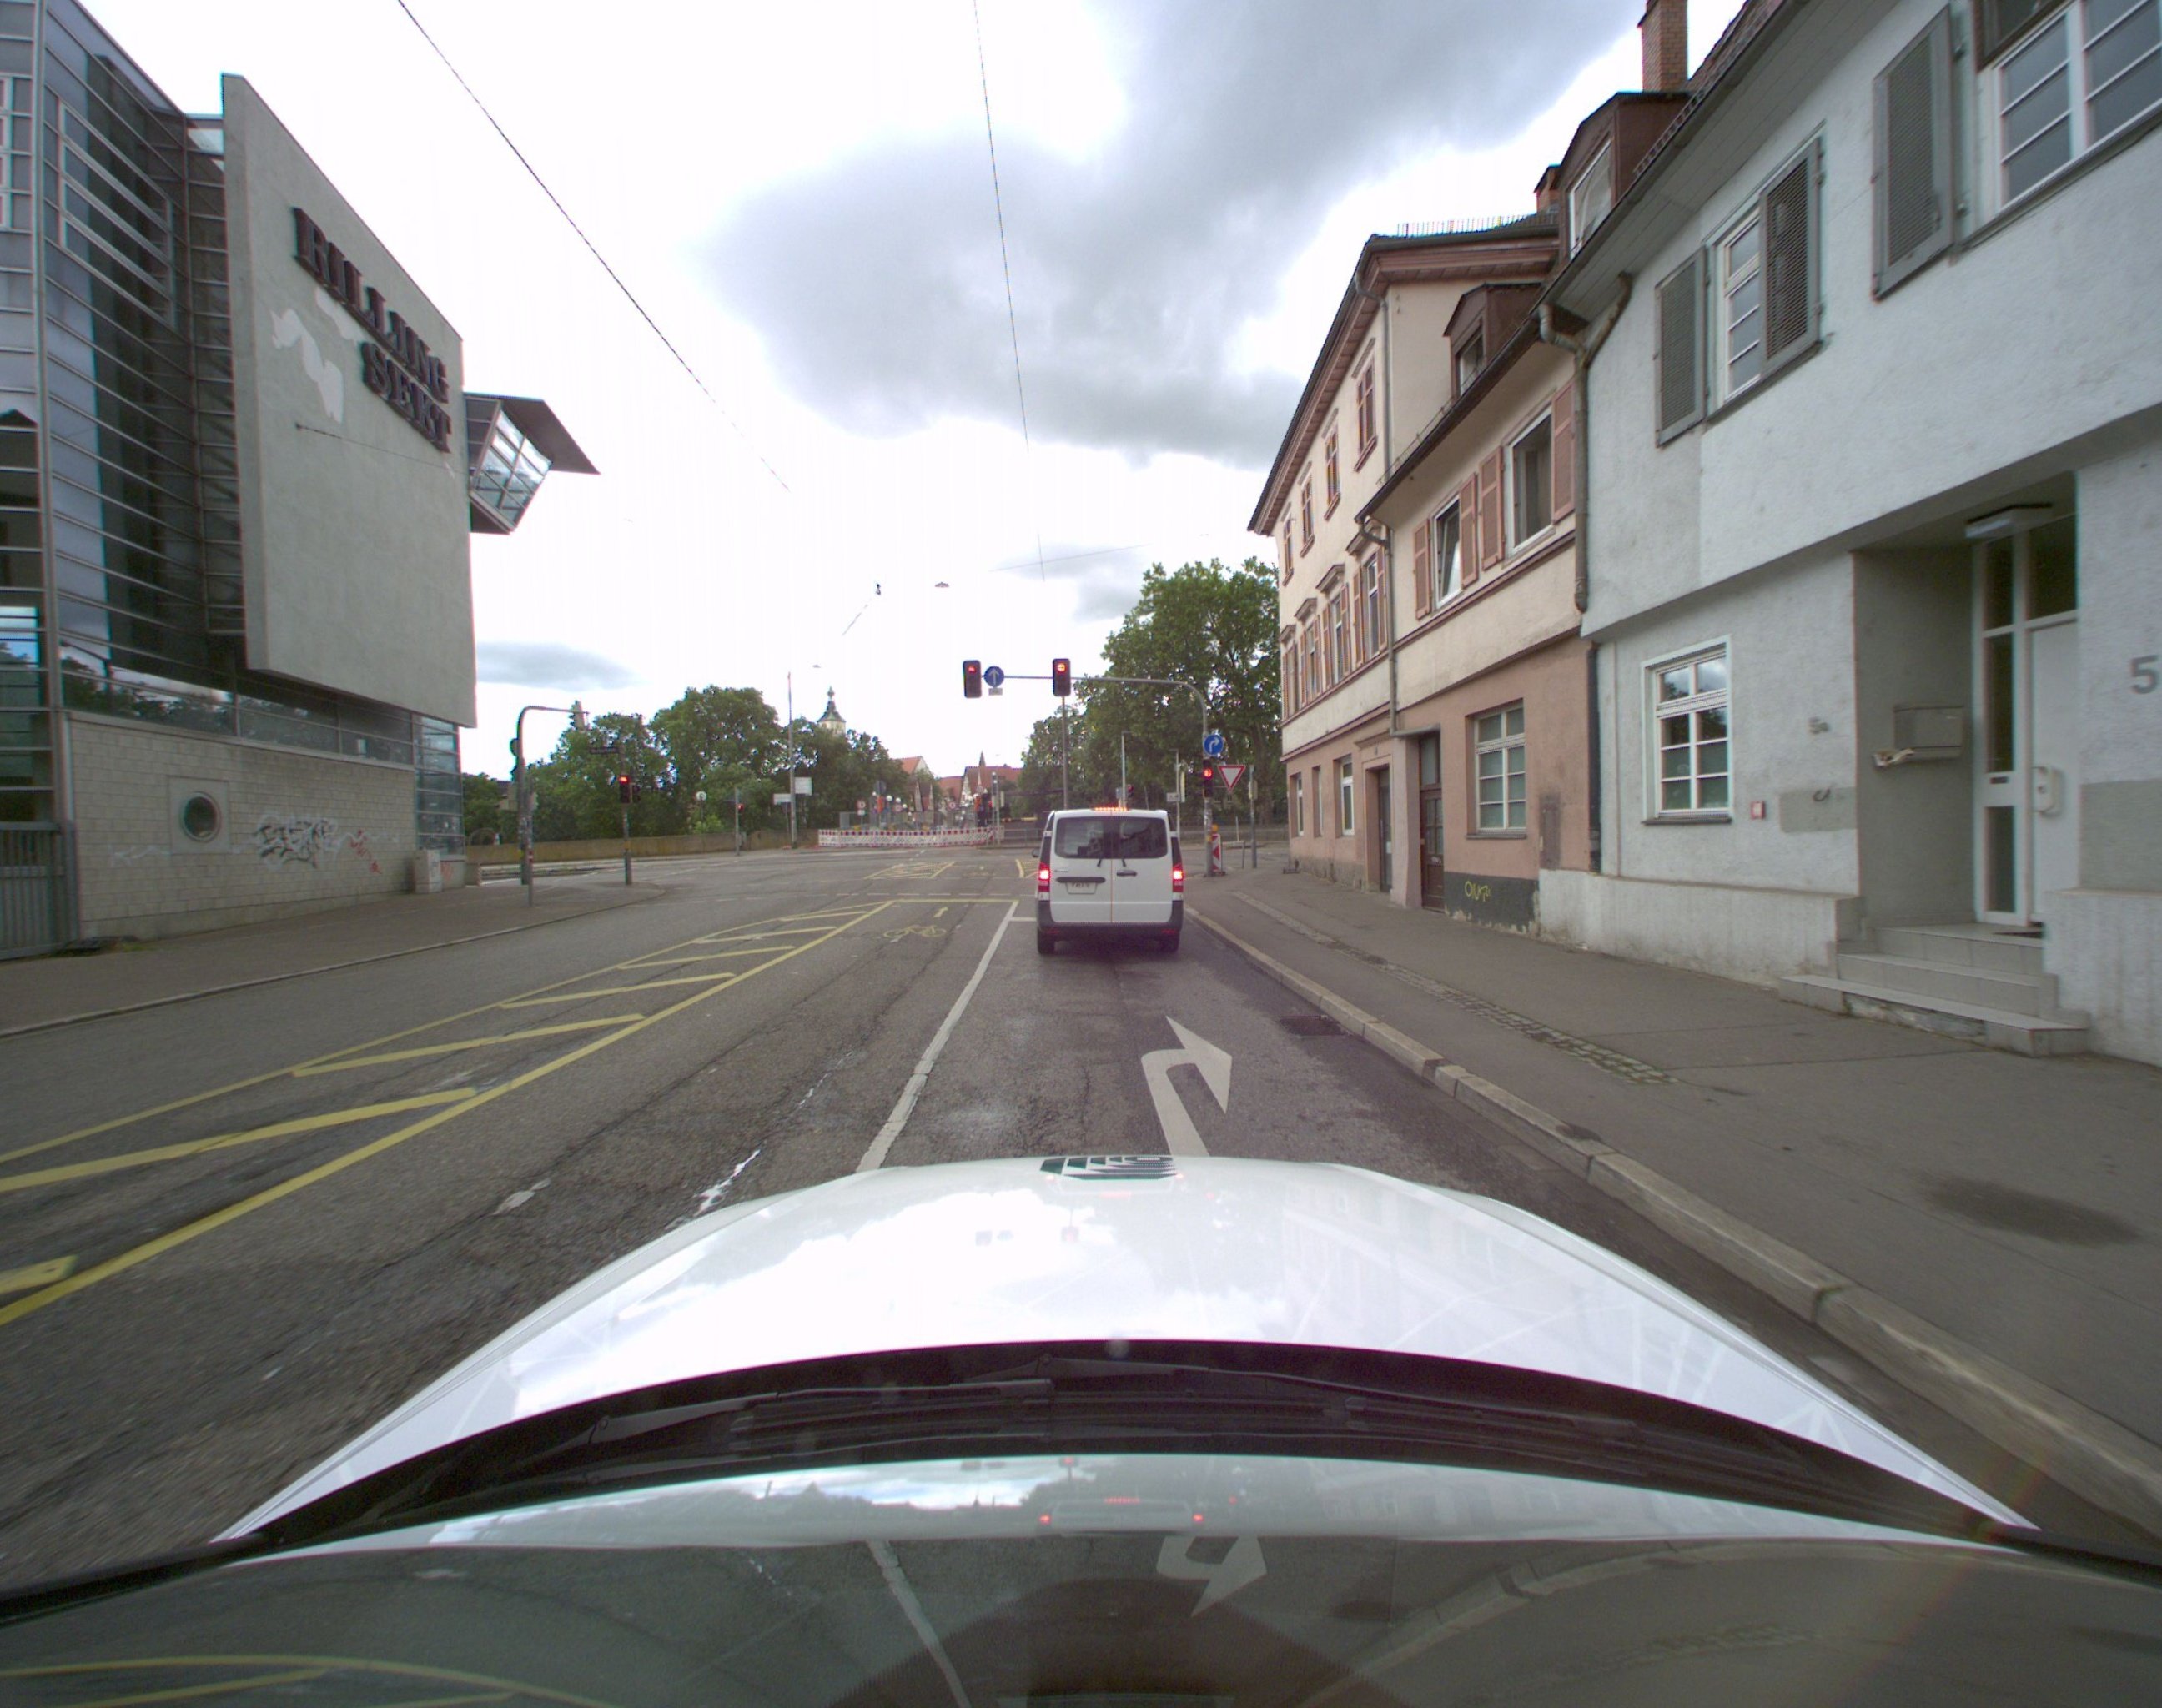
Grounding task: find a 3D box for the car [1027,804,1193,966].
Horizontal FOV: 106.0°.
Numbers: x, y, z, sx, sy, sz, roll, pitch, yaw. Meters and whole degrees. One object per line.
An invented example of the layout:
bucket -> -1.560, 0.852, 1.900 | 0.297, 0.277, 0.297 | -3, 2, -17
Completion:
car -> 0.264, 0.271, 11.938 | 1.989, 1.922, 4.246 | -1, 3, -3
